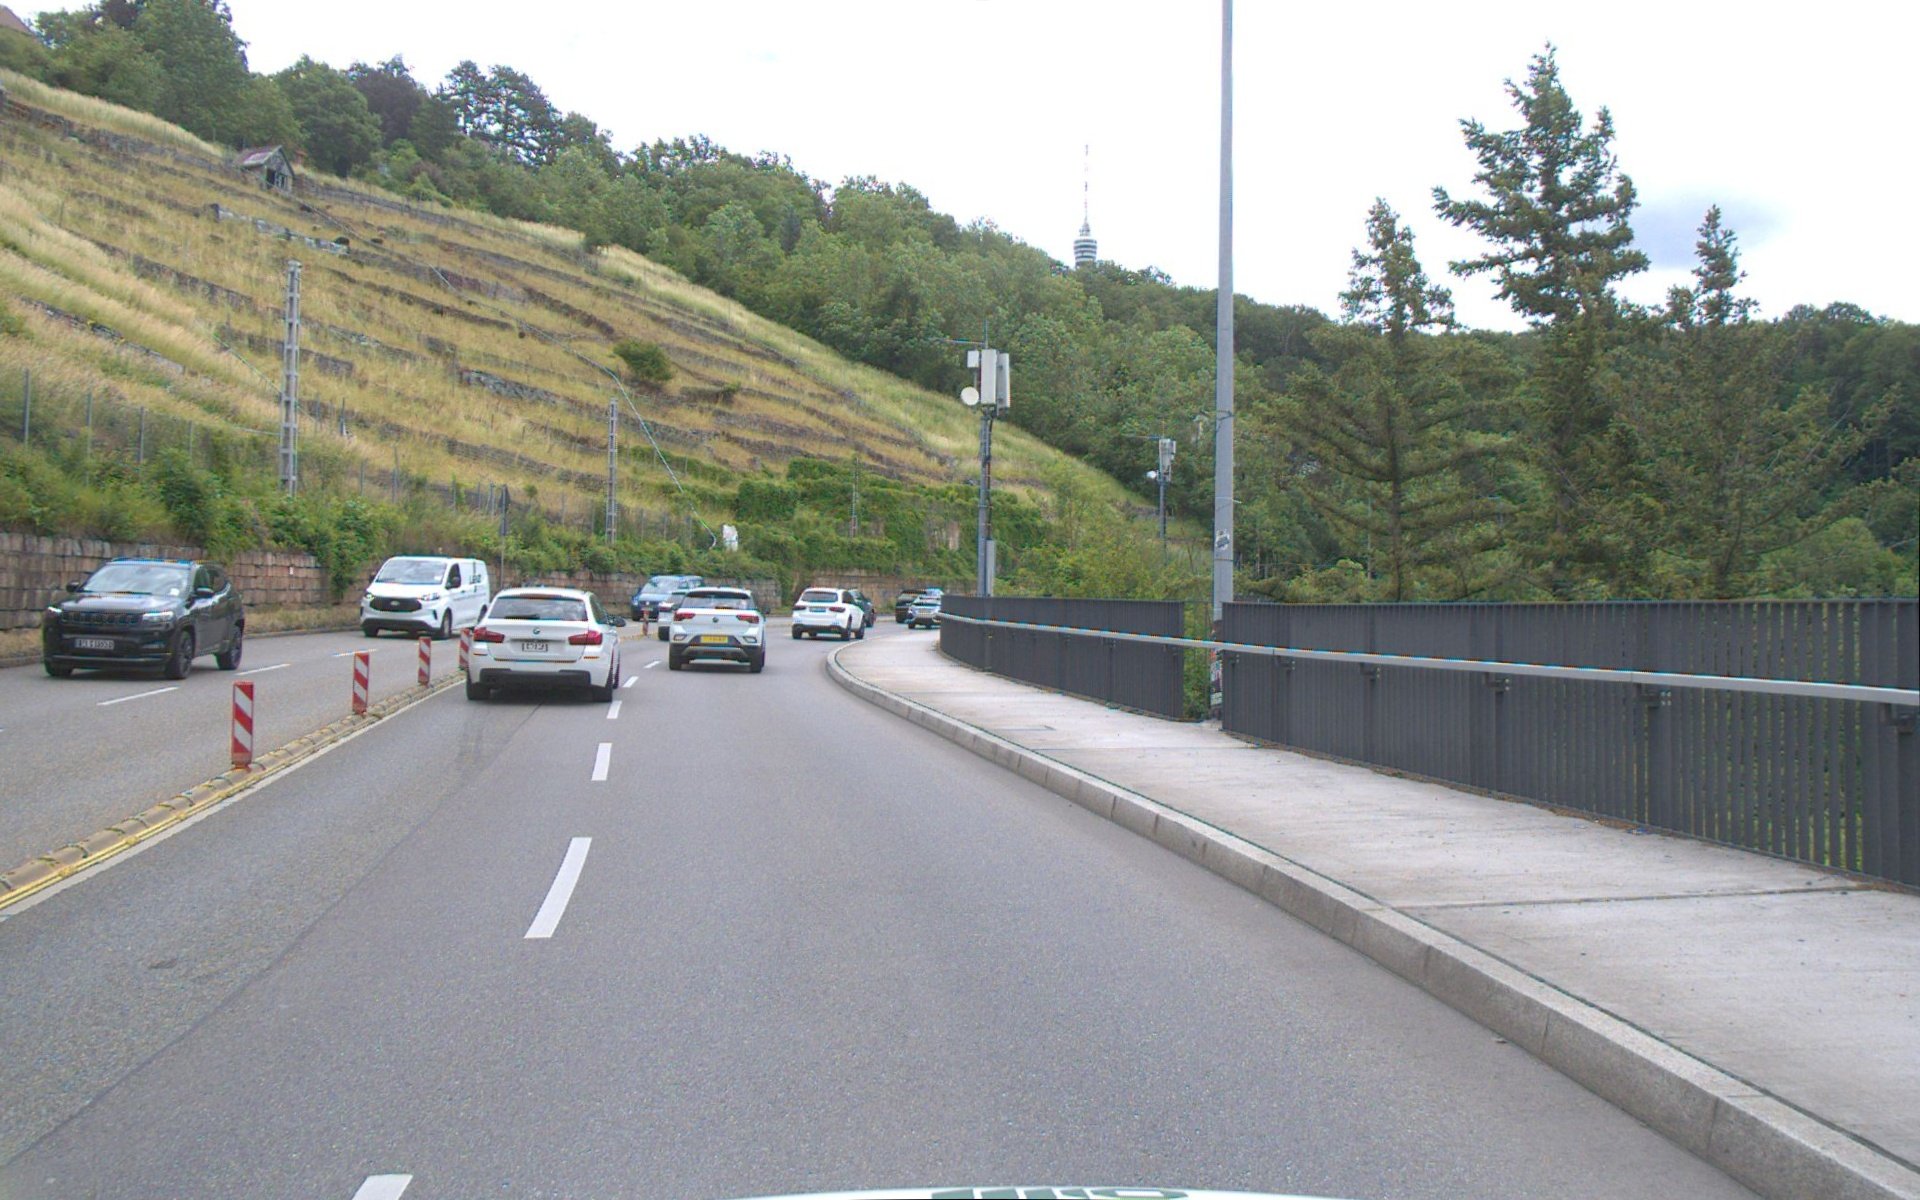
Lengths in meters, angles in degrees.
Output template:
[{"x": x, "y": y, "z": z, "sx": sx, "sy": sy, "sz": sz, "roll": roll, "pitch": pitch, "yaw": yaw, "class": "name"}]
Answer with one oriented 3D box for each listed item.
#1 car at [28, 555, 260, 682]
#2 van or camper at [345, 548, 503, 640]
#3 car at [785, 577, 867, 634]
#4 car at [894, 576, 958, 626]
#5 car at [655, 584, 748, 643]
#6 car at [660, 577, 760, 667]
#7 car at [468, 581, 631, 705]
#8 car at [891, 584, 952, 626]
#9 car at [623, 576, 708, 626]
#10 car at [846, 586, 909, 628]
[{"x": -11.805, "y": 0.242, "z": 24.256, "sx": 1.830, "sy": 1.652, "sz": 4.338, "roll": 1, "pitch": 0, "yaw": -10, "class": "car"}, {"x": -13.250, "y": -0.163, "z": 41.270, "sx": 2.103, "sy": 2.051, "sz": 4.965, "roll": 2, "pitch": 0, "yaw": 2, "class": "van or camper"}, {"x": -4.308, "y": 0.207, "z": 53.817, "sx": 1.951, "sy": 1.748, "sz": 4.116, "roll": 1, "pitch": -1, "yaw": 5, "class": "car"}, {"x": -1.430, "y": 0.083, "z": 71.362, "sx": 1.951, "sy": 2.049, "sz": 4.003, "roll": -2, "pitch": -1, "yaw": 10, "class": "car"}, {"x": -7.425, "y": 0.394, "z": 47.942, "sx": 1.953, "sy": 1.529, "sz": 4.666, "roll": -3, "pitch": -1, "yaw": -1, "class": "car"}, {"x": -4.840, "y": 0.432, "z": 32.244, "sx": 1.793, "sy": 1.634, "sz": 3.992, "roll": 0, "pitch": -1, "yaw": -8, "class": "car"}, {"x": -5.535, "y": 0.513, "z": 22.782, "sx": 1.794, "sy": 1.485, "sz": 4.476, "roll": 1, "pitch": 1, "yaw": -9, "class": "car"}, {"x": -1.810, "y": 0.281, "z": 78.954, "sx": 1.830, "sy": 1.793, "sz": 4.002, "roll": -1, "pitch": -3, "yaw": 15, "class": "car"}, {"x": -11.480, "y": 0.037, "z": 64.865, "sx": 1.811, "sy": 1.813, "sz": 4.737, "roll": 3, "pitch": 0, "yaw": 8, "class": "car"}, {"x": -3.934, "y": 0.346, "z": 79.304, "sx": 1.830, "sy": 1.793, "sz": 4.002, "roll": -1, "pitch": -3, "yaw": 15, "class": "car"}]
